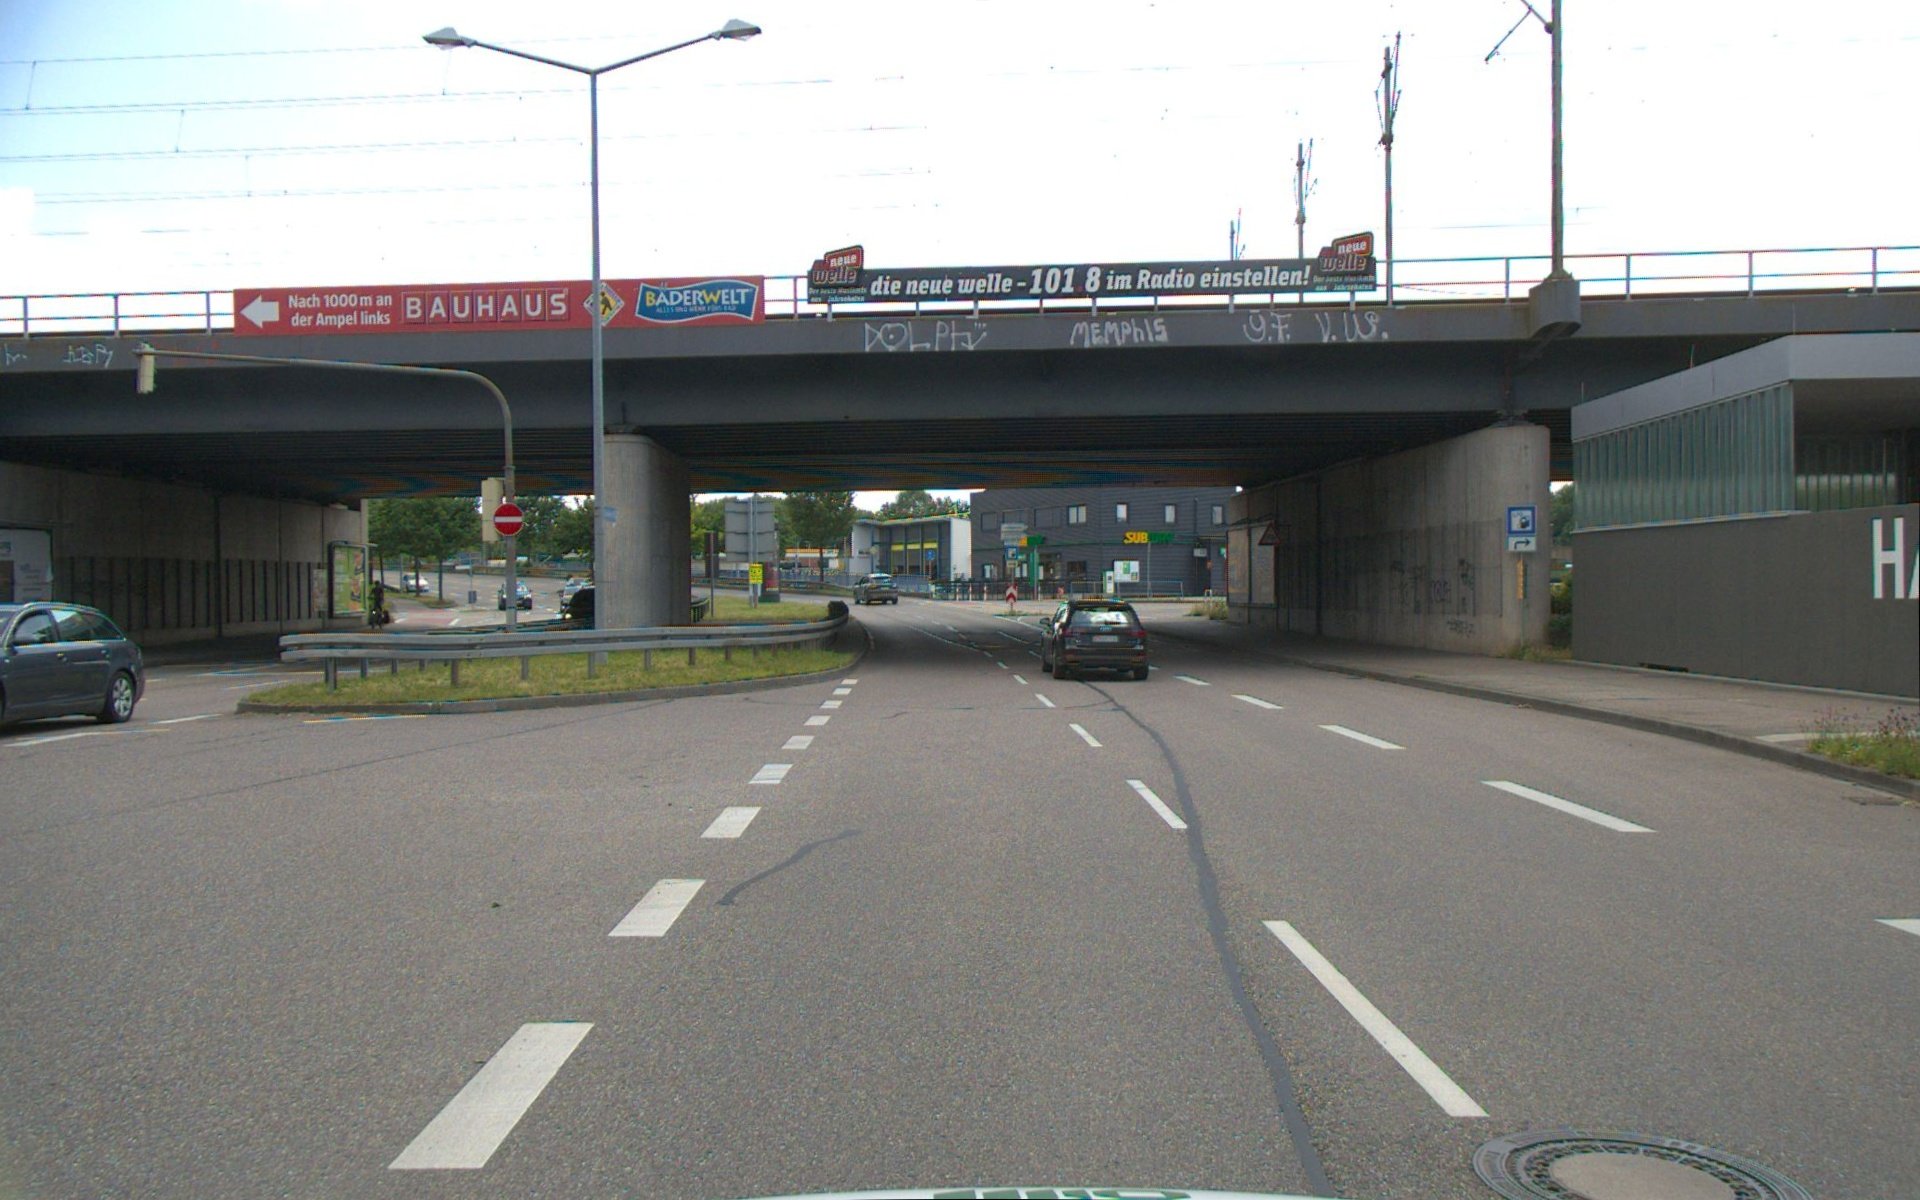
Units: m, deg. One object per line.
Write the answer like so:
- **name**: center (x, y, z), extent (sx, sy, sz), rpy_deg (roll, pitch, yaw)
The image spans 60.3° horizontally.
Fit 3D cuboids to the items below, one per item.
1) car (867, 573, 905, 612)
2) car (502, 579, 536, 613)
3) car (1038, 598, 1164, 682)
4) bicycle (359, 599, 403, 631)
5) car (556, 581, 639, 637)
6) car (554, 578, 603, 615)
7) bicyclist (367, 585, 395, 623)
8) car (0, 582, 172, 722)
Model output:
- **car**: center (-4.092, -0.407, 92.158), extent (1.953, 2.073, 4.712), rpy_deg (-1, 0, -1)
- **car**: center (-27.221, -0.253, 102.158), extent (1.960, 2.049, 4.321), rpy_deg (-1, 0, -14)
- **car**: center (2.625, 0.720, 31.818), extent (1.953, 1.415, 4.575), rpy_deg (1, 1, -1)
- **bicycle**: center (-22.113, 0.571, 63.193), extent (0.666, 1.163, 2.285), rpy_deg (1, 0, 6)
- **car**: center (-12.297, 0.273, 56.389), extent (1.954, 1.789, 4.714), rpy_deg (-1, 0, -3)
- **car**: center (-21.705, -0.215, 94.284), extent (1.953, 2.049, 4.335), rpy_deg (-1, 0, -2)
- **bicyclist**: center (-22.111, 0.140, 63.162), extent (0.667, 1.432, 0.925), rpy_deg (1, 0, 6)
- **car**: center (-10.750, 0.551, 18.174), extent (1.934, 1.413, 4.779), rpy_deg (-2, 0, -1)
